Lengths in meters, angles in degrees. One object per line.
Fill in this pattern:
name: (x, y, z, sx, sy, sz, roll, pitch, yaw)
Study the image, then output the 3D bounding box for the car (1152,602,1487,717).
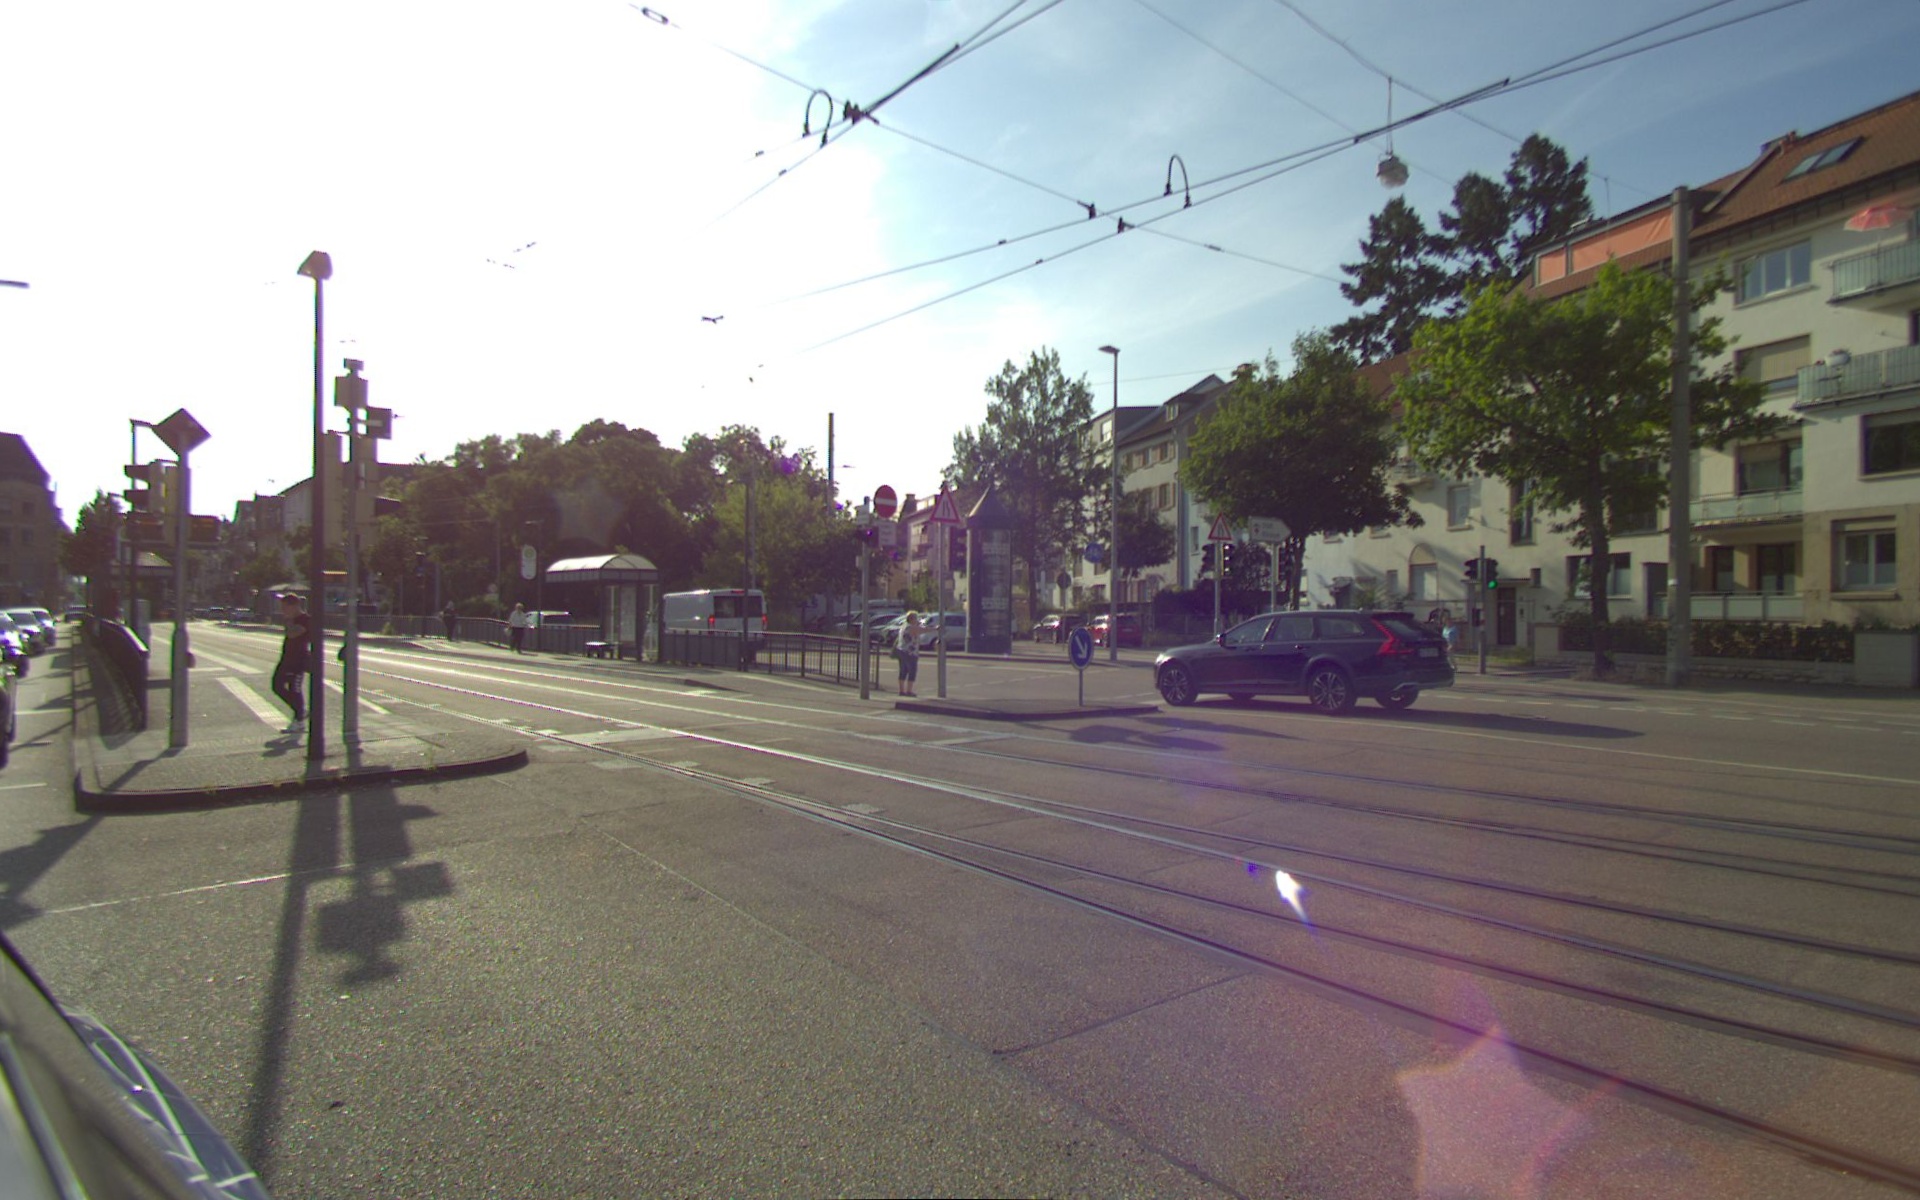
car: (5.361, 0.869, 15.751, 1.743, 1.506, 4.755, 1, -2, -36)

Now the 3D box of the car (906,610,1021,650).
car: (0.110, 1.123, 37.986, 3.931, 1.439, 1.778, 1, -1, -20)

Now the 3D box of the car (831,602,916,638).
car: (-4.456, 1.036, 52.092, 3.930, 1.767, 1.860, 1, -1, -23)

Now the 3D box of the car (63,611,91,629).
car: (-86.745, 1.966, 99.394, 1.970, 1.696, 4.004, 1, -1, -43)

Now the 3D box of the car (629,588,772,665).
car: (-8.360, 0.831, 32.283, 2.151, 2.256, 5.258, 1, -1, -43)

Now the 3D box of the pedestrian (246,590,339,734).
pedestrian: (-8.200, 0.736, 12.431, 0.869, 1.683, 0.673, 1, -1, -39)

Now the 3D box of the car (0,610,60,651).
car: (-36.291, 1.163, 39.433, 1.755, 1.516, 4.005, 1, -1, -41)

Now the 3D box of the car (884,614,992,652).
car: (-0.887, 1.312, 40.592, 3.931, 1.439, 1.778, 1, -1, -20)

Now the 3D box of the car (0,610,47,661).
car: (-30.020, 1.080, 31.982, 1.647, 1.516, 3.877, 1, -1, -41)

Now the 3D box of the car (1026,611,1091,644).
car: (4.926, 1.353, 51.187, 1.787, 1.585, 4.012, 1, -1, -18)

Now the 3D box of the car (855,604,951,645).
car: (-2.562, 1.105, 45.606, 3.930, 1.767, 1.860, 1, -1, -23)

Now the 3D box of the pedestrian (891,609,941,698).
pedestrian: (-0.808, 0.967, 18.617, 0.716, 1.601, 0.583, -1, -1, 45)

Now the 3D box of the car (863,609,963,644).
car: (-2.033, 1.136, 43.538, 3.931, 1.439, 1.778, 1, -1, -20)

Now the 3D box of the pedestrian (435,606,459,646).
pedestrian: (-21.310, 1.069, 42.077, 0.725, 1.640, 0.690, 1, -1, -42)

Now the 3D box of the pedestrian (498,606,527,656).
pedestrian: (-15.005, 1.027, 33.906, 0.697, 1.640, 0.728, 1, -1, -42)

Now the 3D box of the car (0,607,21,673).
car: (-23.854, 0.918, 24.325, 1.755, 1.516, 4.005, 1, -1, -41)

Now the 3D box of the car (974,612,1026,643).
car: (2.355, 1.615, 60.875, 1.787, 1.813, 4.012, 1, -1, -19)

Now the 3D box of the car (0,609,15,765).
car: (-10.992, 0.875, 10.378, 1.755, 1.516, 4.005, -2, 1, -41)

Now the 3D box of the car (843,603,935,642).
car: (-3.330, 1.069, 47.562, 3.930, 1.767, 1.860, 1, -1, -23)

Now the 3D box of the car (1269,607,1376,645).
car: (15.408, 1.100, 43.088, 3.932, 1.570, 1.862, 1, -1, -16)

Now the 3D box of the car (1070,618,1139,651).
car: (6.496, 1.523, 45.855, 1.523, 1.437, 3.877, 0, -1, -18)

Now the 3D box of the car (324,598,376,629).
car: (-41.595, 0.925, 68.957, 2.119, 2.029, 5.394, 1, -1, -41)

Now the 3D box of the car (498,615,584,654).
car: (-17.426, 1.413, 42.050, 4.122, 1.537, 1.659, -2, -2, 41)

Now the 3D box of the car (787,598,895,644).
car: (-7.402, 1.275, 63.107, 6.488, 2.830, 1.778, 0, -1, -20)
